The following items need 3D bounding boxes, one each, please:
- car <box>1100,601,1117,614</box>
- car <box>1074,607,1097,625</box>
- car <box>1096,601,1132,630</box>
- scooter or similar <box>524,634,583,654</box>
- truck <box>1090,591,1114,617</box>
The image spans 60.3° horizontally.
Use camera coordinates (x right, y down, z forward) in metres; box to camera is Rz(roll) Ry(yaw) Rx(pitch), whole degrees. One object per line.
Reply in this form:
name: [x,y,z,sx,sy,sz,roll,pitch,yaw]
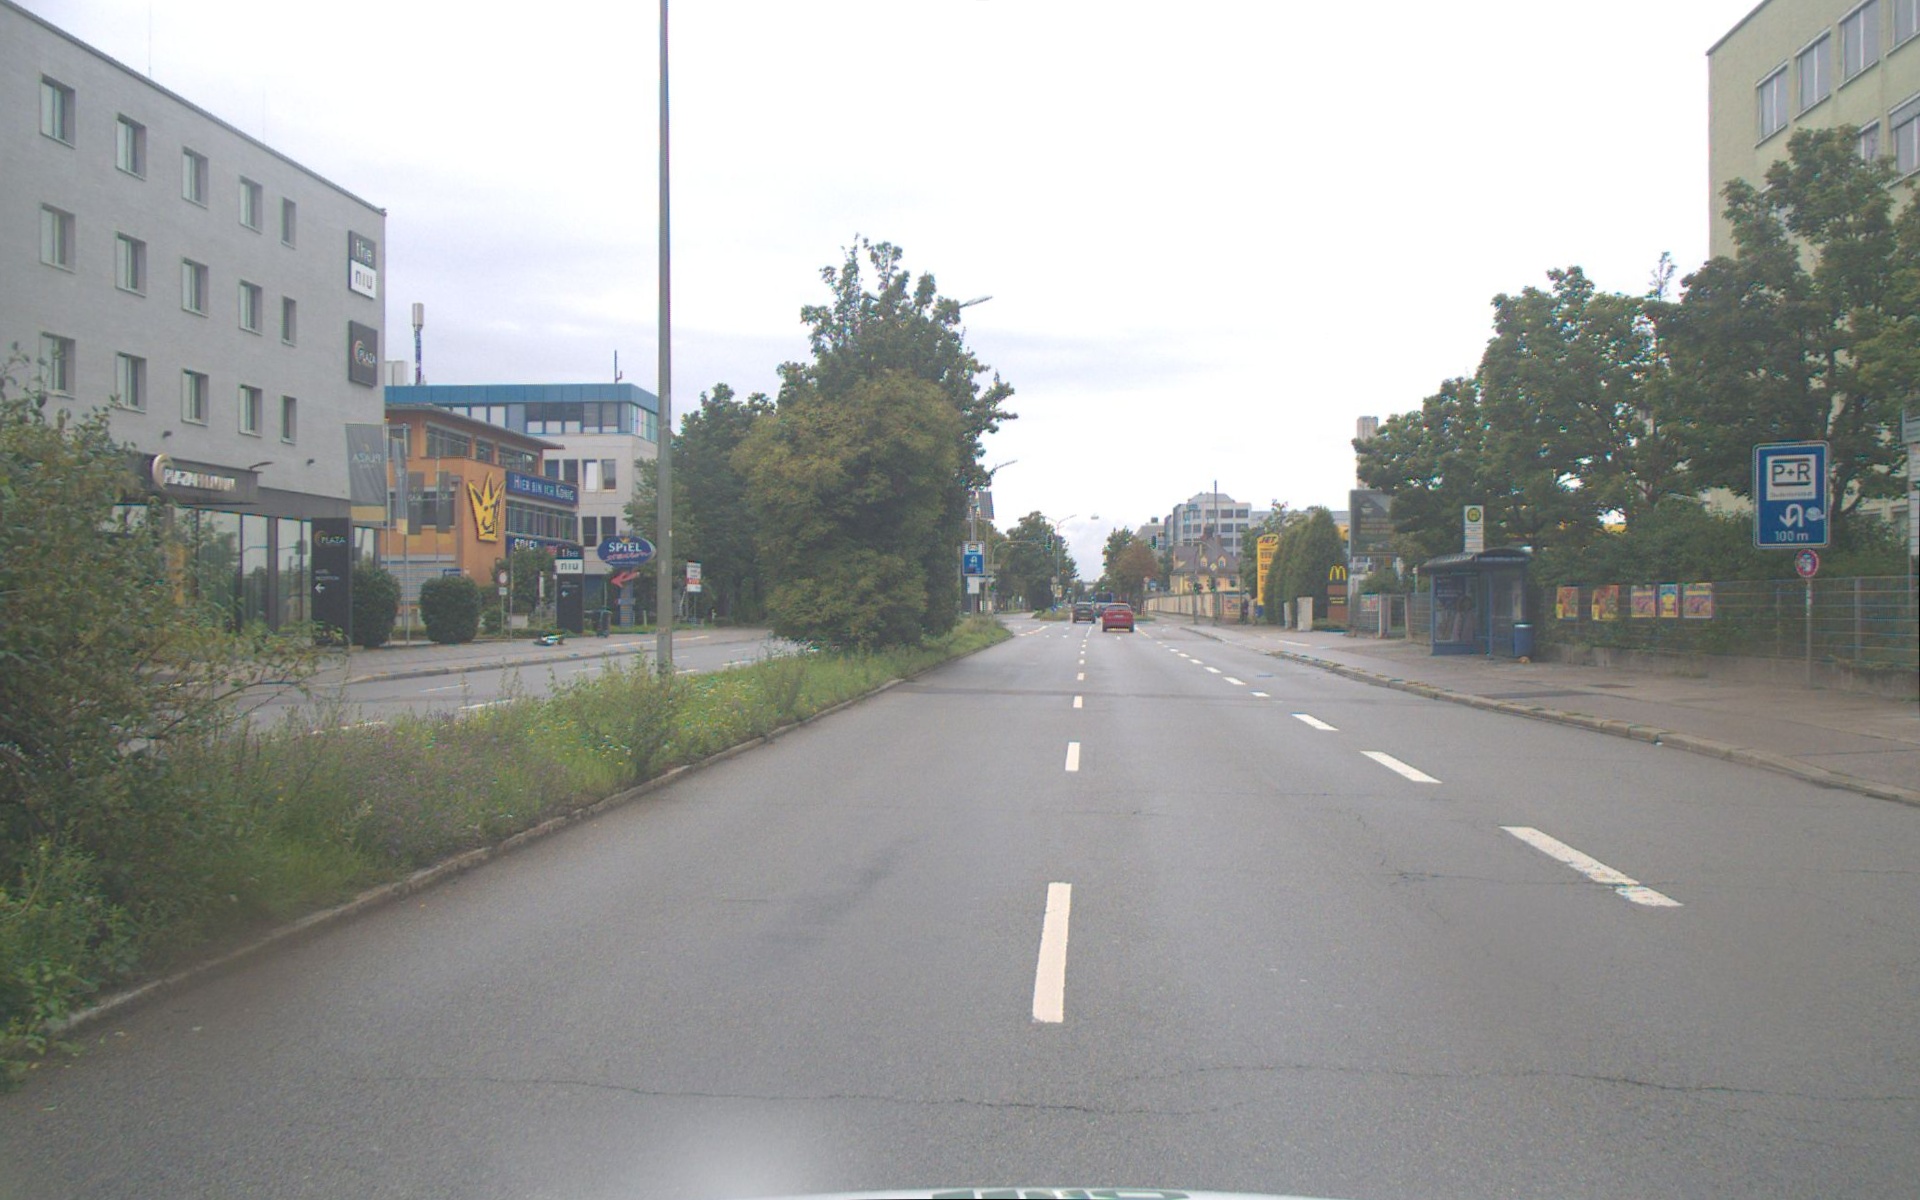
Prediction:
car: [16.622,0.841,185.412,1.765,1.458,4.001,0,0,3]
car: [10.148,1.289,133.868,1.765,1.458,4.001,-1,0,3]
car: [8.779,0.901,94.629,1.823,1.646,4.001,0,-1,3]
scooter or similar: [-14.147,1.542,57.645,1.437,0.595,2.320,-1,-3,2]
truck: [19.233,0.554,223.910,2.907,3.343,7.918,0,0,3]
